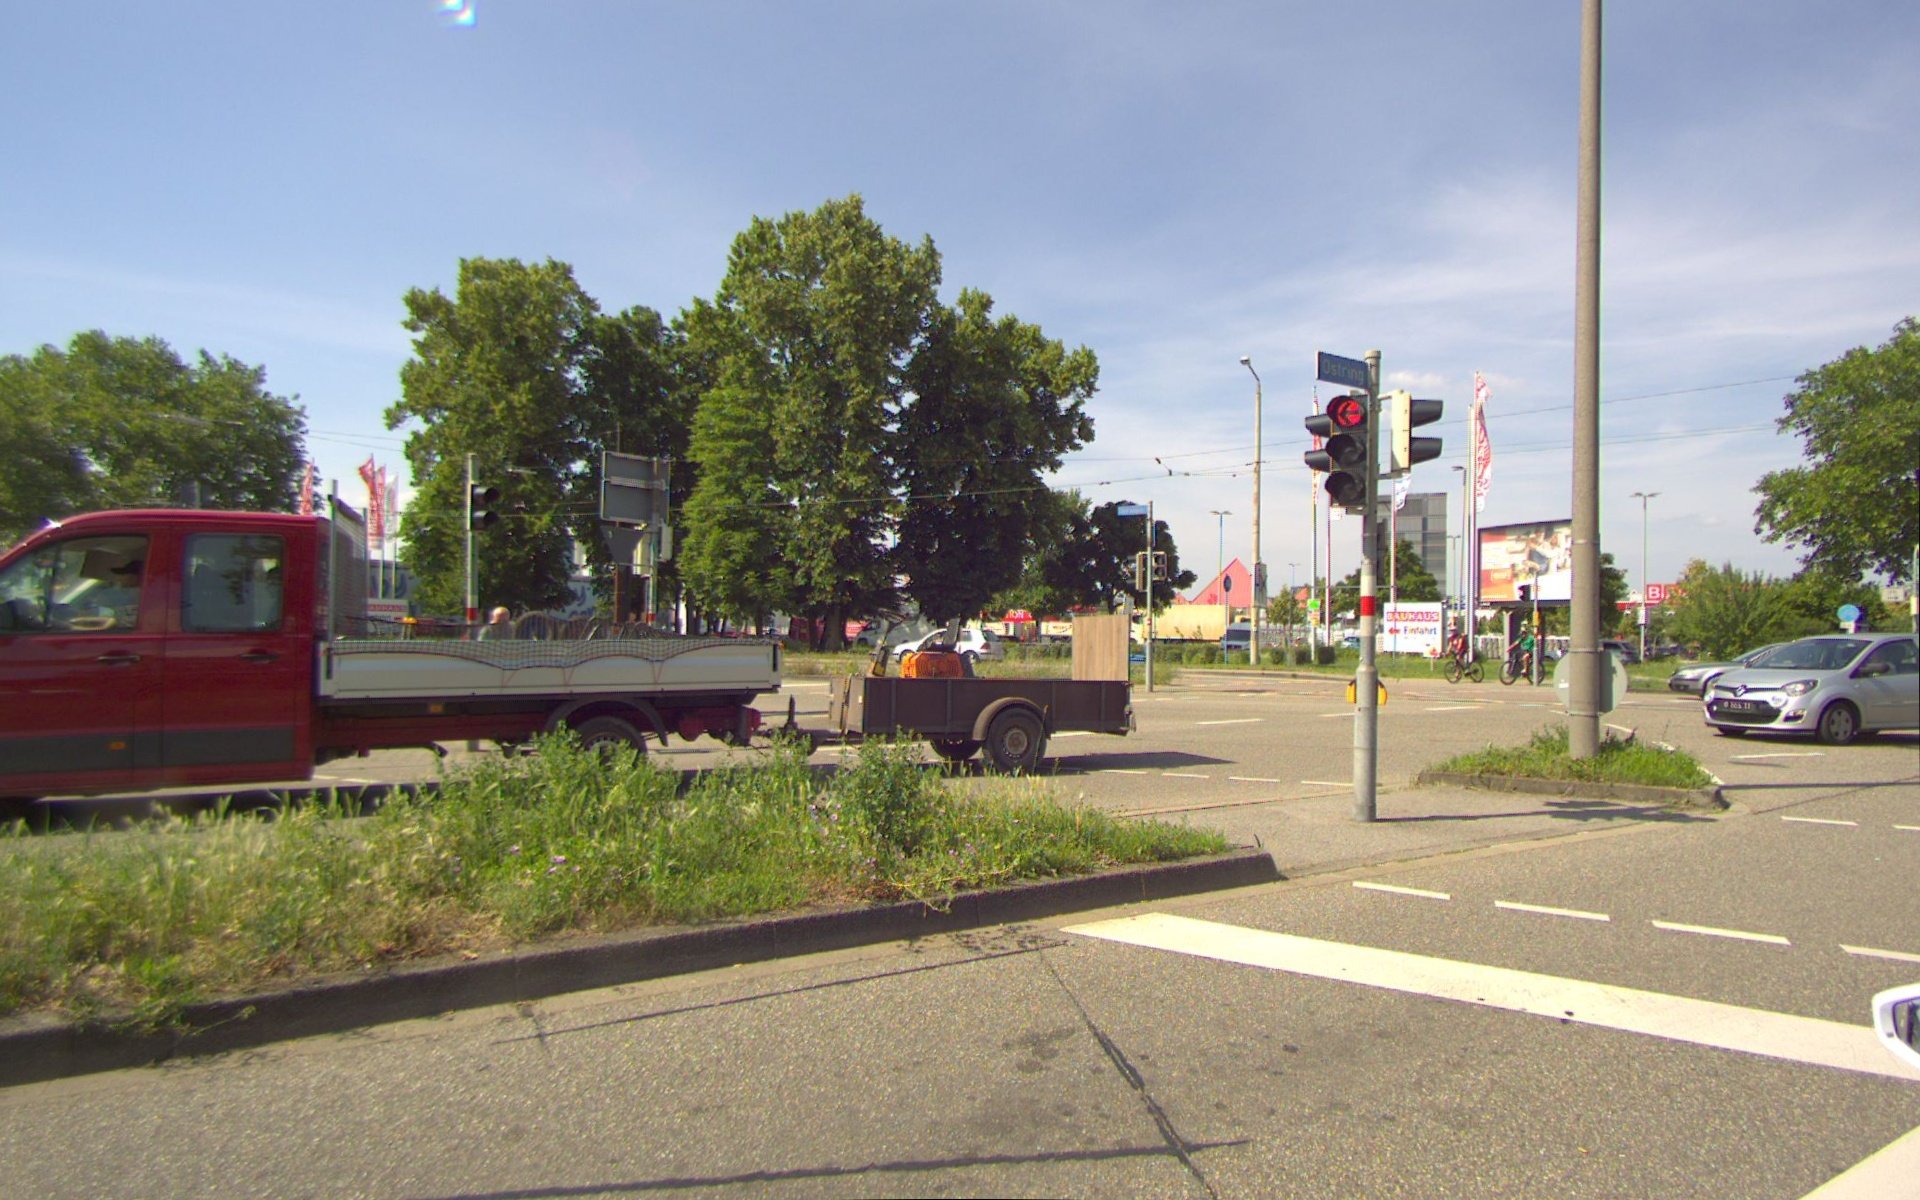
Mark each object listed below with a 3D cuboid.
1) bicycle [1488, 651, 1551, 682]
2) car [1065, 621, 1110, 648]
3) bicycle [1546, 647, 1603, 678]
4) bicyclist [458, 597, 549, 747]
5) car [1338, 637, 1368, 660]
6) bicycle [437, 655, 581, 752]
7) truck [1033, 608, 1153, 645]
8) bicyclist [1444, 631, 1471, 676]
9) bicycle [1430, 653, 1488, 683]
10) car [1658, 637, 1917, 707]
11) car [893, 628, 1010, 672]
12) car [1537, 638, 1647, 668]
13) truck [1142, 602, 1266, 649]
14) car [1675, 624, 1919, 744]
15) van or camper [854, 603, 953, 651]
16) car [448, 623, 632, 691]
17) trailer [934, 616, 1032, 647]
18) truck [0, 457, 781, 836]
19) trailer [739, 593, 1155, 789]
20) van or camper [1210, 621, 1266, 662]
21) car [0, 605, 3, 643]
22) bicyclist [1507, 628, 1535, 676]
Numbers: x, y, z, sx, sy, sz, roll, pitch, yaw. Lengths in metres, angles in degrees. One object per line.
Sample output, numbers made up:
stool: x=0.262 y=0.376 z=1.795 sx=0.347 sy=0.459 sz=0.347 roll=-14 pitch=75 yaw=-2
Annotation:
bicycle: x=17.645 y=2.111 z=31.677 sx=1.963 sy=0.950 sz=0.416 roll=1 pitch=-1 yaw=-14
car: x=12.526 y=3.399 z=98.431 sx=2.344 sy=2.562 sz=6.118 roll=0 pitch=-2 yaw=28
bicycle: x=21.570 y=2.194 z=35.265 sx=1.864 sy=1.051 sz=0.594 roll=1 pitch=-1 yaw=-16
bicyclist: x=-5.738 y=0.880 z=12.635 sx=0.754 sy=1.812 sz=0.704 roll=0 pitch=-1 yaw=31
car: x=27.901 y=3.406 z=71.326 sx=1.787 sy=1.593 sz=4.277 roll=0 pitch=-2 yaw=24
bicycle: x=-5.690 y=1.261 z=12.631 sx=2.128 sy=1.078 sz=0.524 roll=0 pitch=-2 yaw=31
truck: x=10.980 y=2.137 z=83.114 sx=9.431 sy=2.930 sz=2.925 roll=0 pitch=-2 yaw=24
bicyclist: x=15.965 y=1.707 z=32.242 sx=0.598 sy=1.432 sz=0.529 roll=1 pitch=-1 yaw=-7
bicycle: x=15.998 y=2.175 z=32.194 sx=1.719 sy=0.950 sz=0.434 roll=1 pitch=-1 yaw=-8
car: x=19.112 y=1.622 z=23.467 sx=4.379 sy=1.430 sz=1.638 roll=0 pitch=-2 yaw=27
car: x=-0.298 y=1.738 z=35.714 sx=3.788 sy=1.446 sz=1.698 roll=0 pitch=-2 yaw=26
car: x=33.631 y=2.807 z=53.588 sx=2.180 sy=1.432 sz=4.529 roll=2 pitch=-2 yaw=-37
truck: x=18.461 y=1.912 z=76.190 sx=8.753 sy=3.355 sz=3.159 roll=0 pitch=-1 yaw=23
car: x=12.246 y=1.128 z=13.974 sx=3.668 sy=1.534 sz=1.652 roll=1 pitch=-1 yaw=-9
van or camper: x=-3.903 y=1.815 z=68.774 sx=6.207 sy=3.141 sz=2.709 roll=1 pitch=-1 yaw=26
car: x=-9.950 y=1.312 z=23.802 sx=3.924 sy=1.468 sz=1.846 roll=0 pitch=-2 yaw=25
trailer: x=1.996 y=2.682 z=87.164 sx=8.057 sy=2.523 sz=2.924 roll=0 pitch=-2 yaw=26
truck: x=-5.211 y=0.368 z=8.335 sx=7.029 sy=2.508 sz=2.134 roll=1 pitch=-2 yaw=-24
trailer: x=-0.167 y=0.873 z=10.662 sx=3.934 sy=1.738 sz=2.057 roll=1 pitch=-2 yaw=-24
van or camper: x=16.175 y=2.382 z=58.159 sx=2.155 sy=2.239 sz=5.513 roll=0 pitch=-2 yaw=26
car: x=-59.209 y=1.354 z=58.186 sx=2.109 sy=2.308 sz=5.043 roll=0 pitch=-2 yaw=18
bicyclist: x=17.699 y=1.629 z=31.696 sx=0.599 sy=1.511 sz=0.528 roll=1 pitch=-1 yaw=-15
